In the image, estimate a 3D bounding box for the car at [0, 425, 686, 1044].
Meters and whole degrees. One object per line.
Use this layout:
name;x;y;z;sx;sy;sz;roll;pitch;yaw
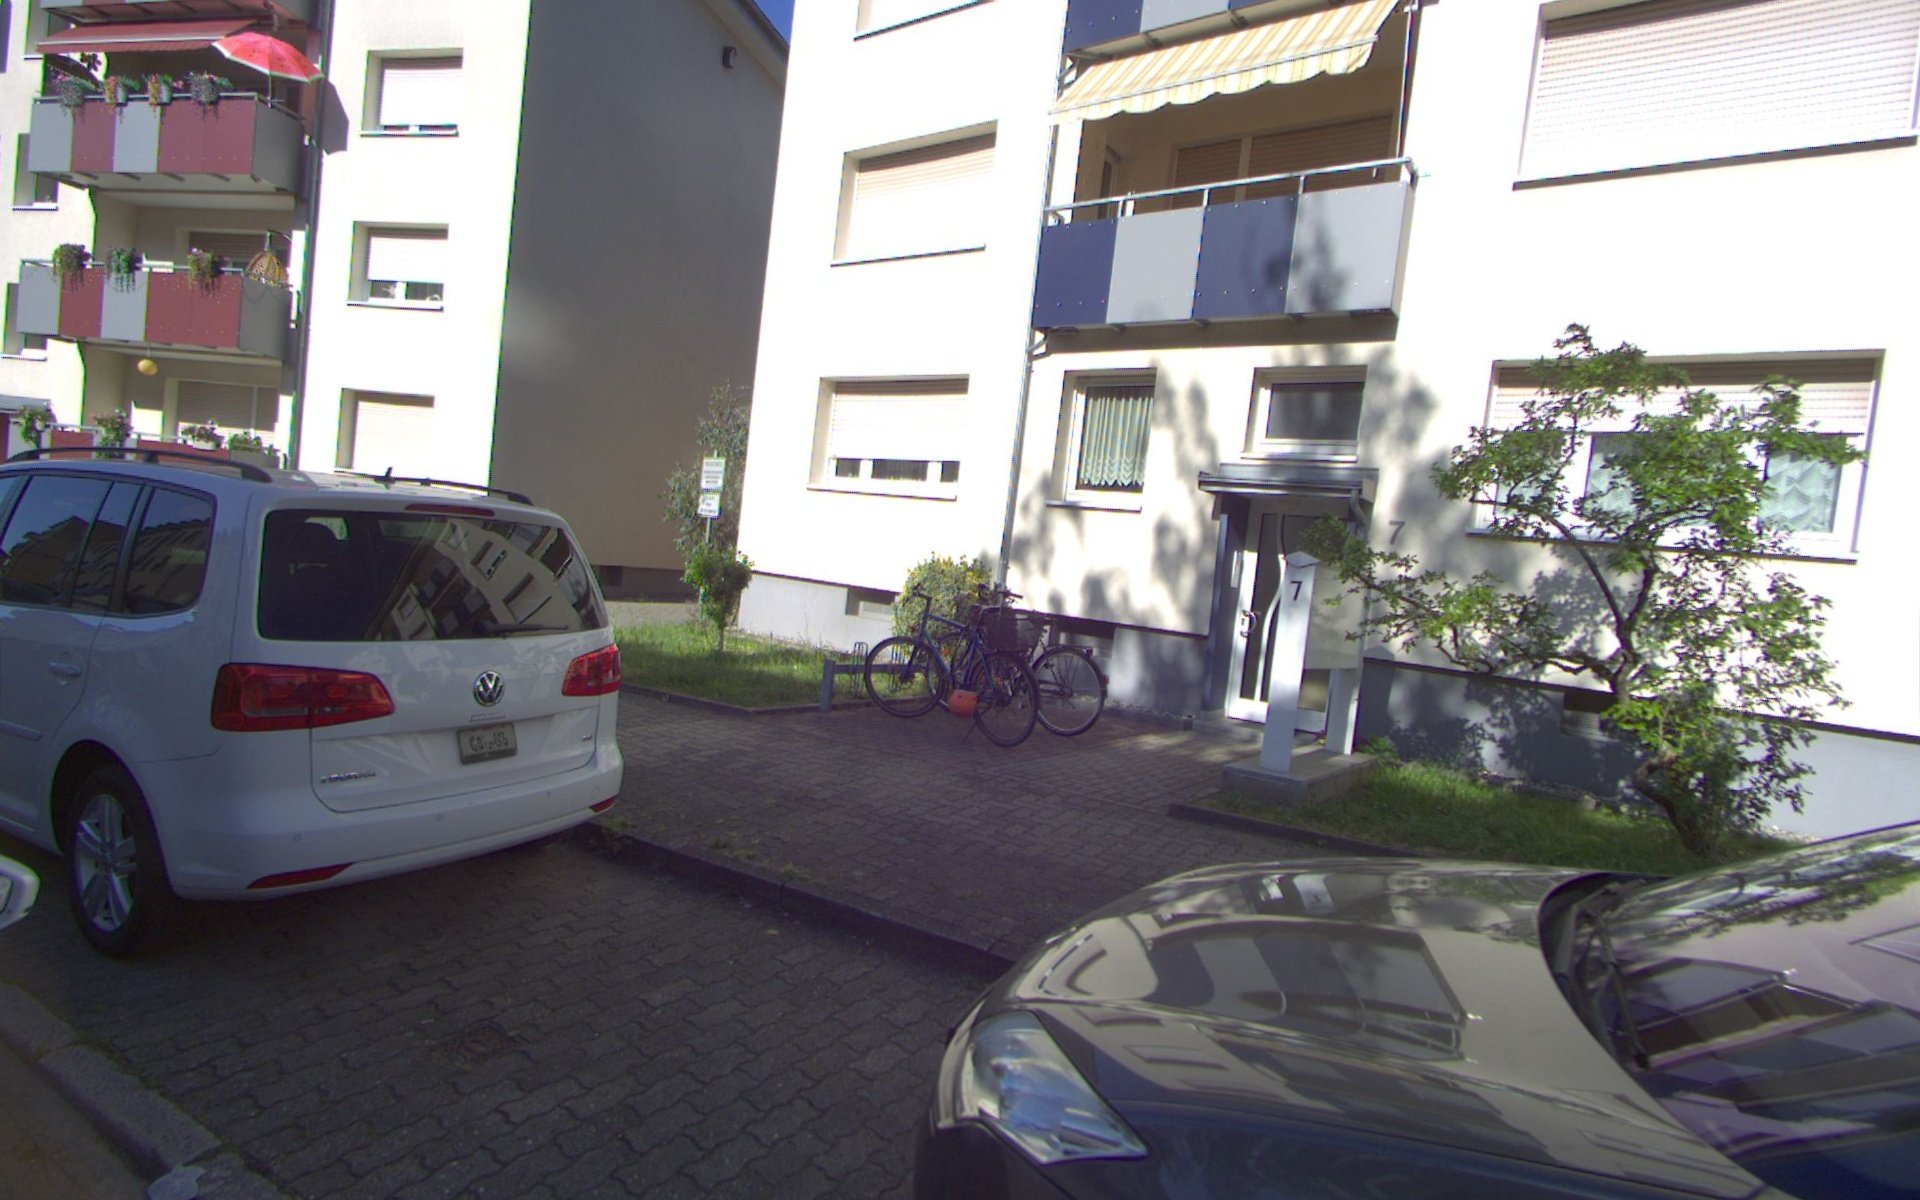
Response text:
car;-3.514;0.148;4.556;4.313;1.679;1.694;8;5;28

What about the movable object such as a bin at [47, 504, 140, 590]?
movable object such as a bin;-9.956;-0.608;11.568;0.629;0.901;0.584;7;5;21

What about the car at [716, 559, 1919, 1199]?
car;2.072;0.963;1.281;4.604;1.450;1.697;8;2;26

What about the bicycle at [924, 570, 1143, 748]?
bicycle;0.583;0.451;8.618;1.806;1.220;0.513;9;6;38

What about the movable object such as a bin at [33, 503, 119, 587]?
movable object such as a bin;-10.297;-0.642;11.724;0.508;0.912;0.584;7;5;21

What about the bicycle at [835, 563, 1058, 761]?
bicycle;-0.151;0.413;7.691;1.736;1.220;0.512;9;7;42

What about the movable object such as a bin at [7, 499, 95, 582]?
movable object such as a bin;-10.819;-0.706;11.977;0.574;0.913;0.584;7;5;21
